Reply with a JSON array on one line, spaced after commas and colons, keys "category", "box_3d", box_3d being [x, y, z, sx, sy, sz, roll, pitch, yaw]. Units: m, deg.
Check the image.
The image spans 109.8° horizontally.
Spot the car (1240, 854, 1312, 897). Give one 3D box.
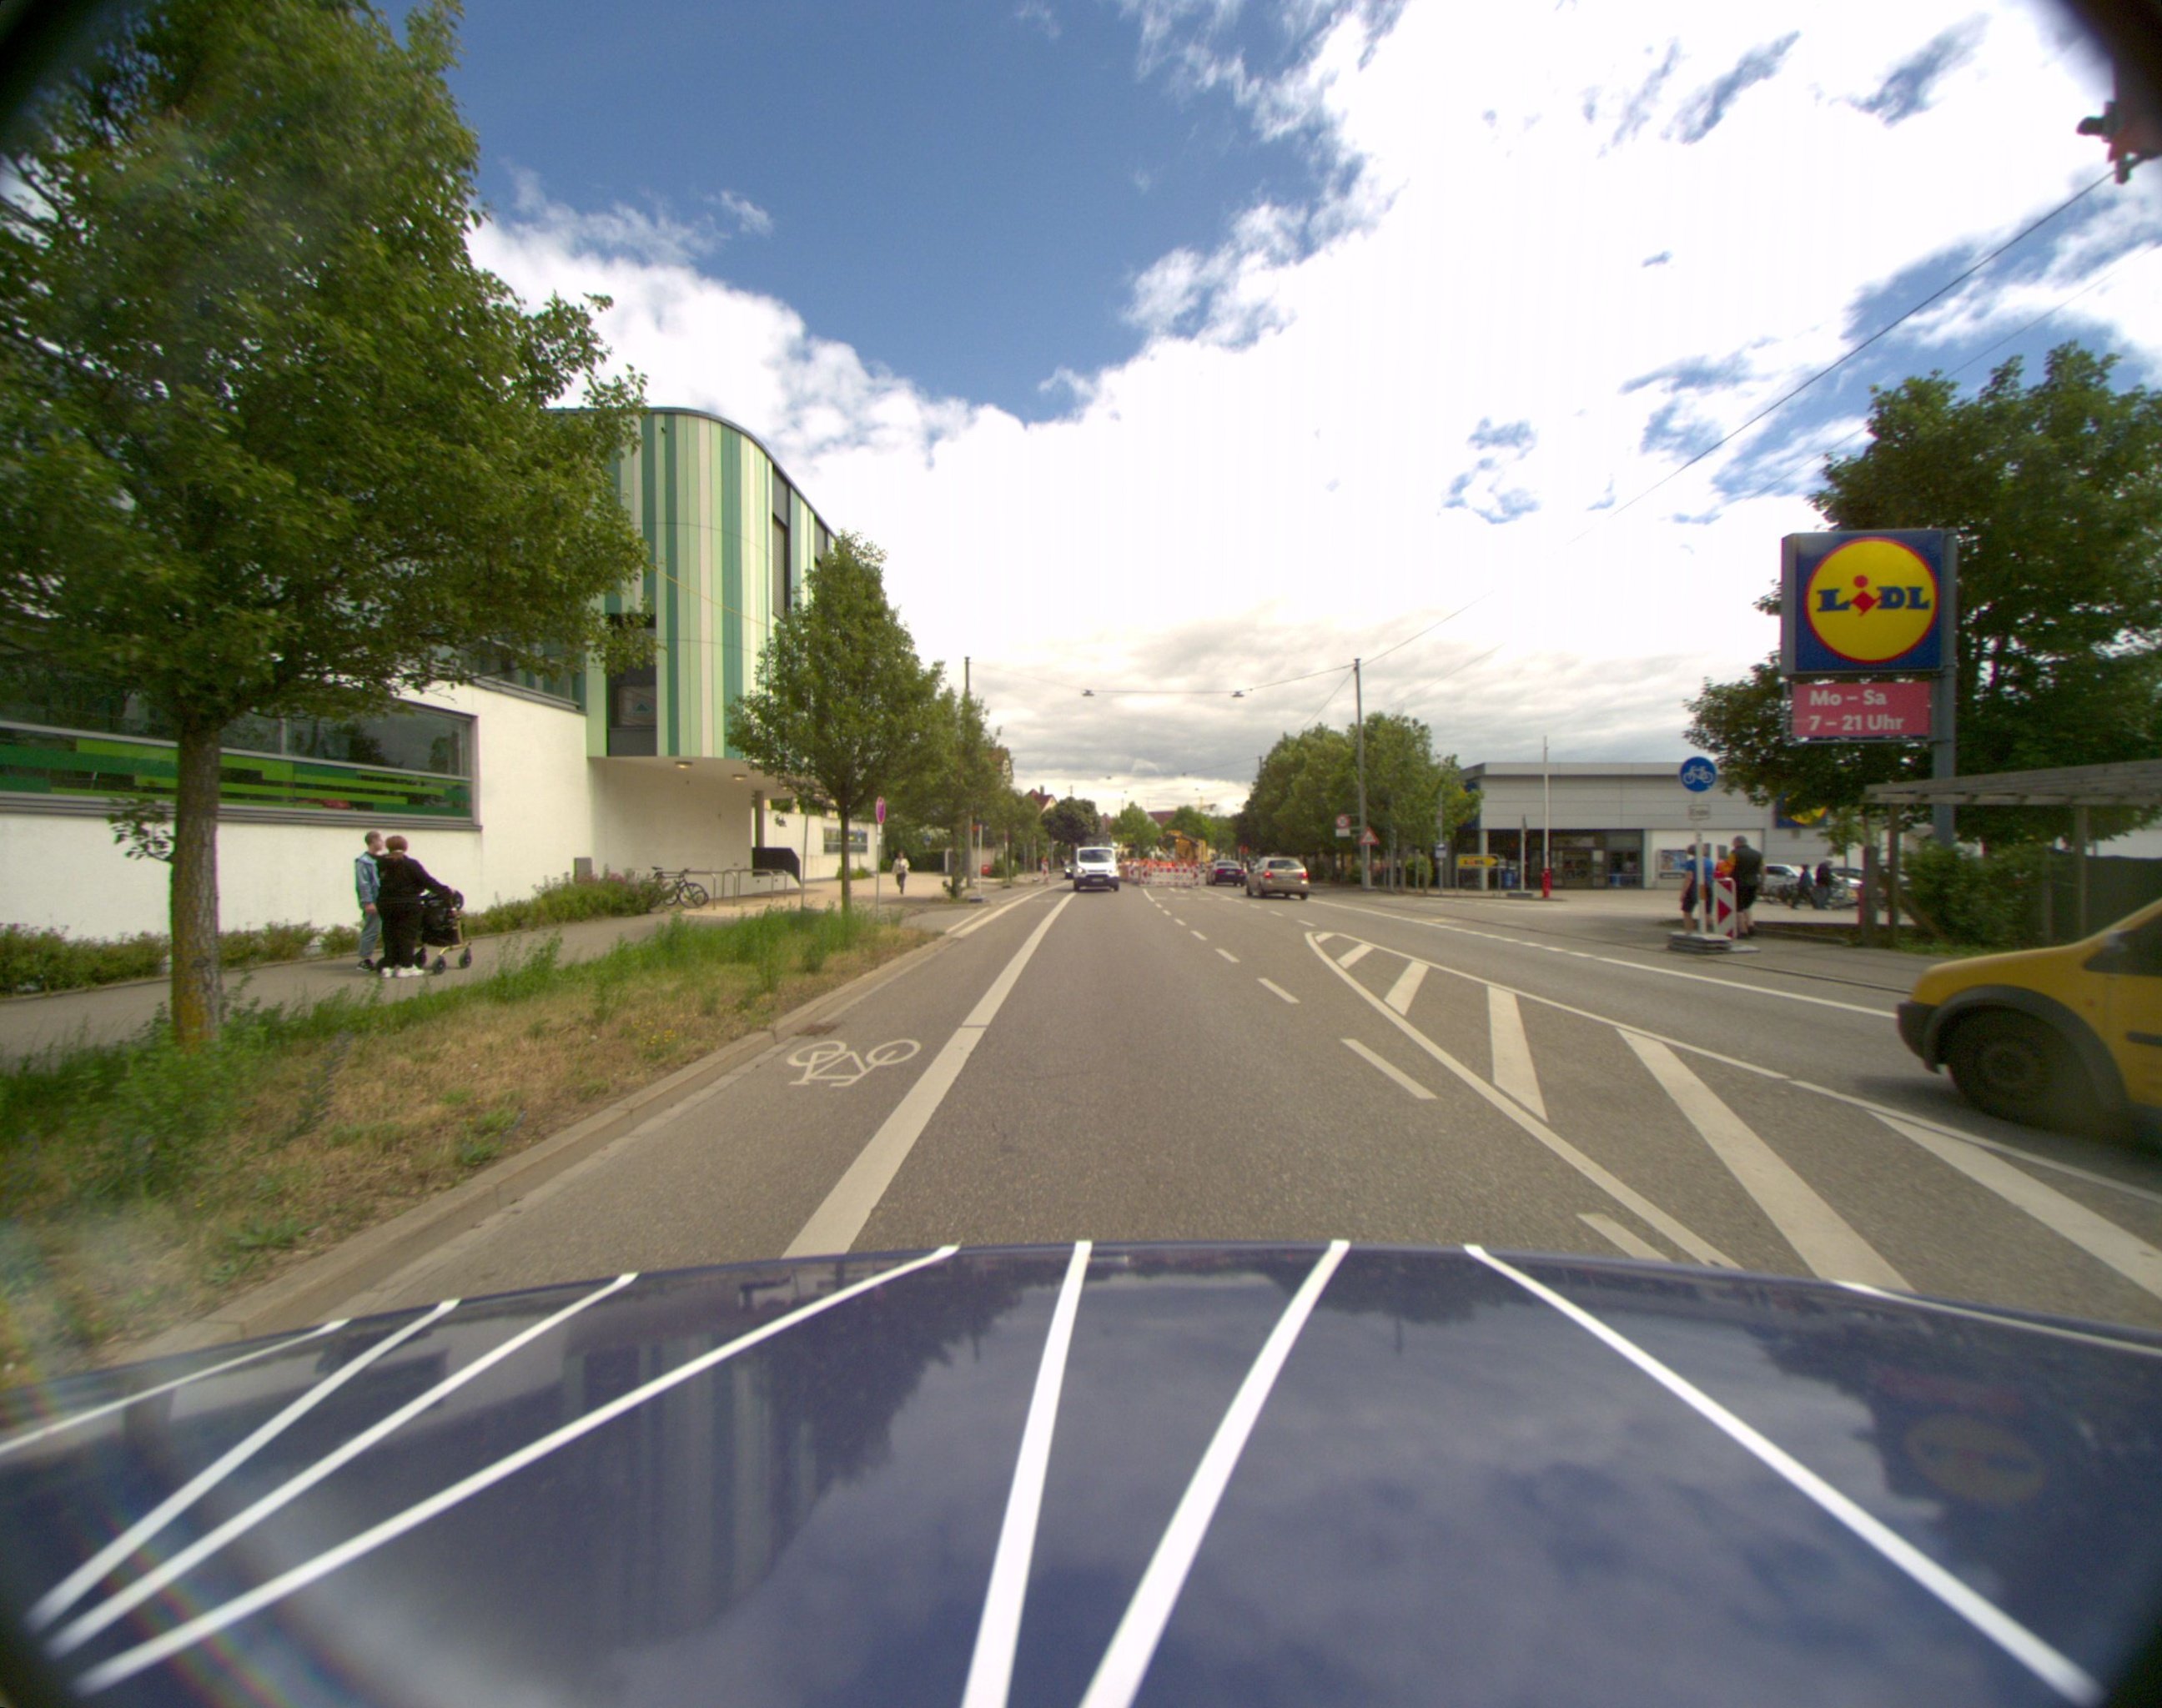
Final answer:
[{"category": "car", "box_3d": [7.563, 0.785, 29.916, 1.754, 1.546, 4.402, 1, 0, 1]}]

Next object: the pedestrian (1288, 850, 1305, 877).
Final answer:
[{"category": "pedestrian", "box_3d": [12.927, 0.568, 45.541, 0.754, 1.593, 0.829, 0, 1, -1]}]

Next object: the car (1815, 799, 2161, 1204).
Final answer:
[{"category": "car", "box_3d": [5.971, 0.699, 2.888, 1.846, 1.893, 4.685, 1, 0, 1]}]

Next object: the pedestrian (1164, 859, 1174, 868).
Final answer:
[{"category": "pedestrian", "box_3d": [9.280, 1.004, 80.227, 0.791, 0.985, 0.813, 1, 1, 29]}]

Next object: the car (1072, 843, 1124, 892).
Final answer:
[{"category": "car", "box_3d": [0.671, 0.563, 34.219, 1.999, 2.002, 5.512, -1, 0, -2]}]

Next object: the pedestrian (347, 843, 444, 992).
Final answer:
[{"category": "pedestrian", "box_3d": [-7.826, 0.702, 8.690, 0.606, 1.645, 0.552, 1, 1, 1]}]

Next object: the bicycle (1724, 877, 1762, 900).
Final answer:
[{"category": "bicycle", "box_3d": [27.912, 1.446, 32.035, 1.887, 0.951, 0.348, 1, 1, -21]}]

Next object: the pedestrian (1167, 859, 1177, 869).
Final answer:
[{"category": "pedestrian", "box_3d": [9.495, 1.022, 79.247, 0.641, 0.985, 0.795, 1, 1, 39]}]

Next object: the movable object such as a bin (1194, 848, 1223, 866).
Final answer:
[{"category": "movable object such as a bin", "box_3d": [18.678, 0.435, 110.714, 1.994, 2.610, 6.535, 1, 0, 29]}]

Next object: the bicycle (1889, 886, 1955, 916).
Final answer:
[{"category": "bicycle", "box_3d": [28.030, 1.557, 25.333, 1.654, 0.951, 0.313, 1, 1, 7]}]

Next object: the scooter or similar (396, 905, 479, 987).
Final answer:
[{"category": "scooter or similar", "box_3d": [-7.760, 1.092, 9.189, 0.422, 0.900, 0.682, 1, 1, 1]}]

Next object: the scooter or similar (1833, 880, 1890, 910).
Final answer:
[{"category": "scooter or similar", "box_3d": [26.195, 1.358, 25.519, 1.226, 0.938, 0.657, 1, 0, 37]}]

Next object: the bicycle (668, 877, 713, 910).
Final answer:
[{"category": "bicycle", "box_3d": [-10.217, 1.026, 19.902, 1.027, 0.837, 0.306, 1, 1, -31]}]

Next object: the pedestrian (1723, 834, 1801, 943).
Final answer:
[{"category": "pedestrian", "box_3d": [11.846, 0.585, 13.241, 0.683, 1.844, 0.706, 0, 1, 1]}]

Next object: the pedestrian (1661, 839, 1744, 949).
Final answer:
[{"category": "pedestrian", "box_3d": [10.853, 0.674, 13.302, 0.683, 1.844, 0.892, 0, 1, 1]}]

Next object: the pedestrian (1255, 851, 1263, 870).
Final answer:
[{"category": "pedestrian", "box_3d": [16.727, 0.605, 71.395, 0.625, 1.836, 0.624, 1, 1, 29]}]

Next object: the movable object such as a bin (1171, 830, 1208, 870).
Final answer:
[{"category": "movable object such as a bin", "box_3d": [12.357, -0.402, 85.800, 2.594, 4.197, 11.134, 1, 0, 15]}]

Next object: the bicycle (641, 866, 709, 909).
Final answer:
[{"category": "bicycle", "box_3d": [-10.041, 0.825, 18.818, 1.470, 1.039, 0.307, 1, 1, -11]}]

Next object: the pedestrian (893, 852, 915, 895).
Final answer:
[{"category": "pedestrian", "box_3d": [-6.546, 0.714, 28.139, 0.582, 1.542, 0.869, 1, 1, 1]}]

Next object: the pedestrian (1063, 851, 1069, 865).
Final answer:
[{"category": "pedestrian", "box_3d": [-1.673, 0.464, 84.512, 0.522, 1.531, 0.636, 1, 1, -5]}]

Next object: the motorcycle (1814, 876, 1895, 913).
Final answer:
[{"category": "motorcycle", "box_3d": [27.373, 1.415, 26.932, 0.864, 1.186, 1.950, 0, 1, -45]}]

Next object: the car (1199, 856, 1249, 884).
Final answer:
[{"category": "car", "box_3d": [8.095, 0.874, 43.446, 1.998, 1.391, 4.811, 2, 0, 1]}]

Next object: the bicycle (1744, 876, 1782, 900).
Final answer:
[{"category": "bicycle", "box_3d": [28.056, 1.379, 31.241, 1.887, 0.951, 0.348, 1, 1, -21]}]

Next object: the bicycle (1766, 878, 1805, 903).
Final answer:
[{"category": "bicycle", "box_3d": [28.235, 1.449, 30.448, 1.887, 0.951, 0.348, 1, 1, -21]}]

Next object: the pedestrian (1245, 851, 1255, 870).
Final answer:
[{"category": "pedestrian", "box_3d": [16.062, 0.624, 72.167, 0.695, 1.836, 0.624, 1, 1, 29]}]

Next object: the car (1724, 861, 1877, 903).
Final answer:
[{"category": "car", "box_3d": [30.301, 1.109, 32.244, 1.998, 1.563, 4.672, 0, 1, 0]}]

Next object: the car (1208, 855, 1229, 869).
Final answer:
[{"category": "car", "box_3d": [14.968, 0.846, 82.958, 1.858, 1.504, 4.001, 1, 0, 5]}]

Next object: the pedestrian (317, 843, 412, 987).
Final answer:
[{"category": "pedestrian", "box_3d": [-8.488, 0.702, 9.024, 0.551, 1.645, 0.607, 1, 1, 1]}]

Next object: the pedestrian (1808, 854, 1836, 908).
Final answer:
[{"category": "pedestrian", "box_3d": [25.515, 0.917, 26.162, 0.610, 1.848, 0.423, 1, 1, 37]}]

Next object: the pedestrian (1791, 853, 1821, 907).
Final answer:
[{"category": "pedestrian", "box_3d": [24.816, 0.876, 26.013, 0.422, 1.848, 0.612, 1, 1, -2]}]
